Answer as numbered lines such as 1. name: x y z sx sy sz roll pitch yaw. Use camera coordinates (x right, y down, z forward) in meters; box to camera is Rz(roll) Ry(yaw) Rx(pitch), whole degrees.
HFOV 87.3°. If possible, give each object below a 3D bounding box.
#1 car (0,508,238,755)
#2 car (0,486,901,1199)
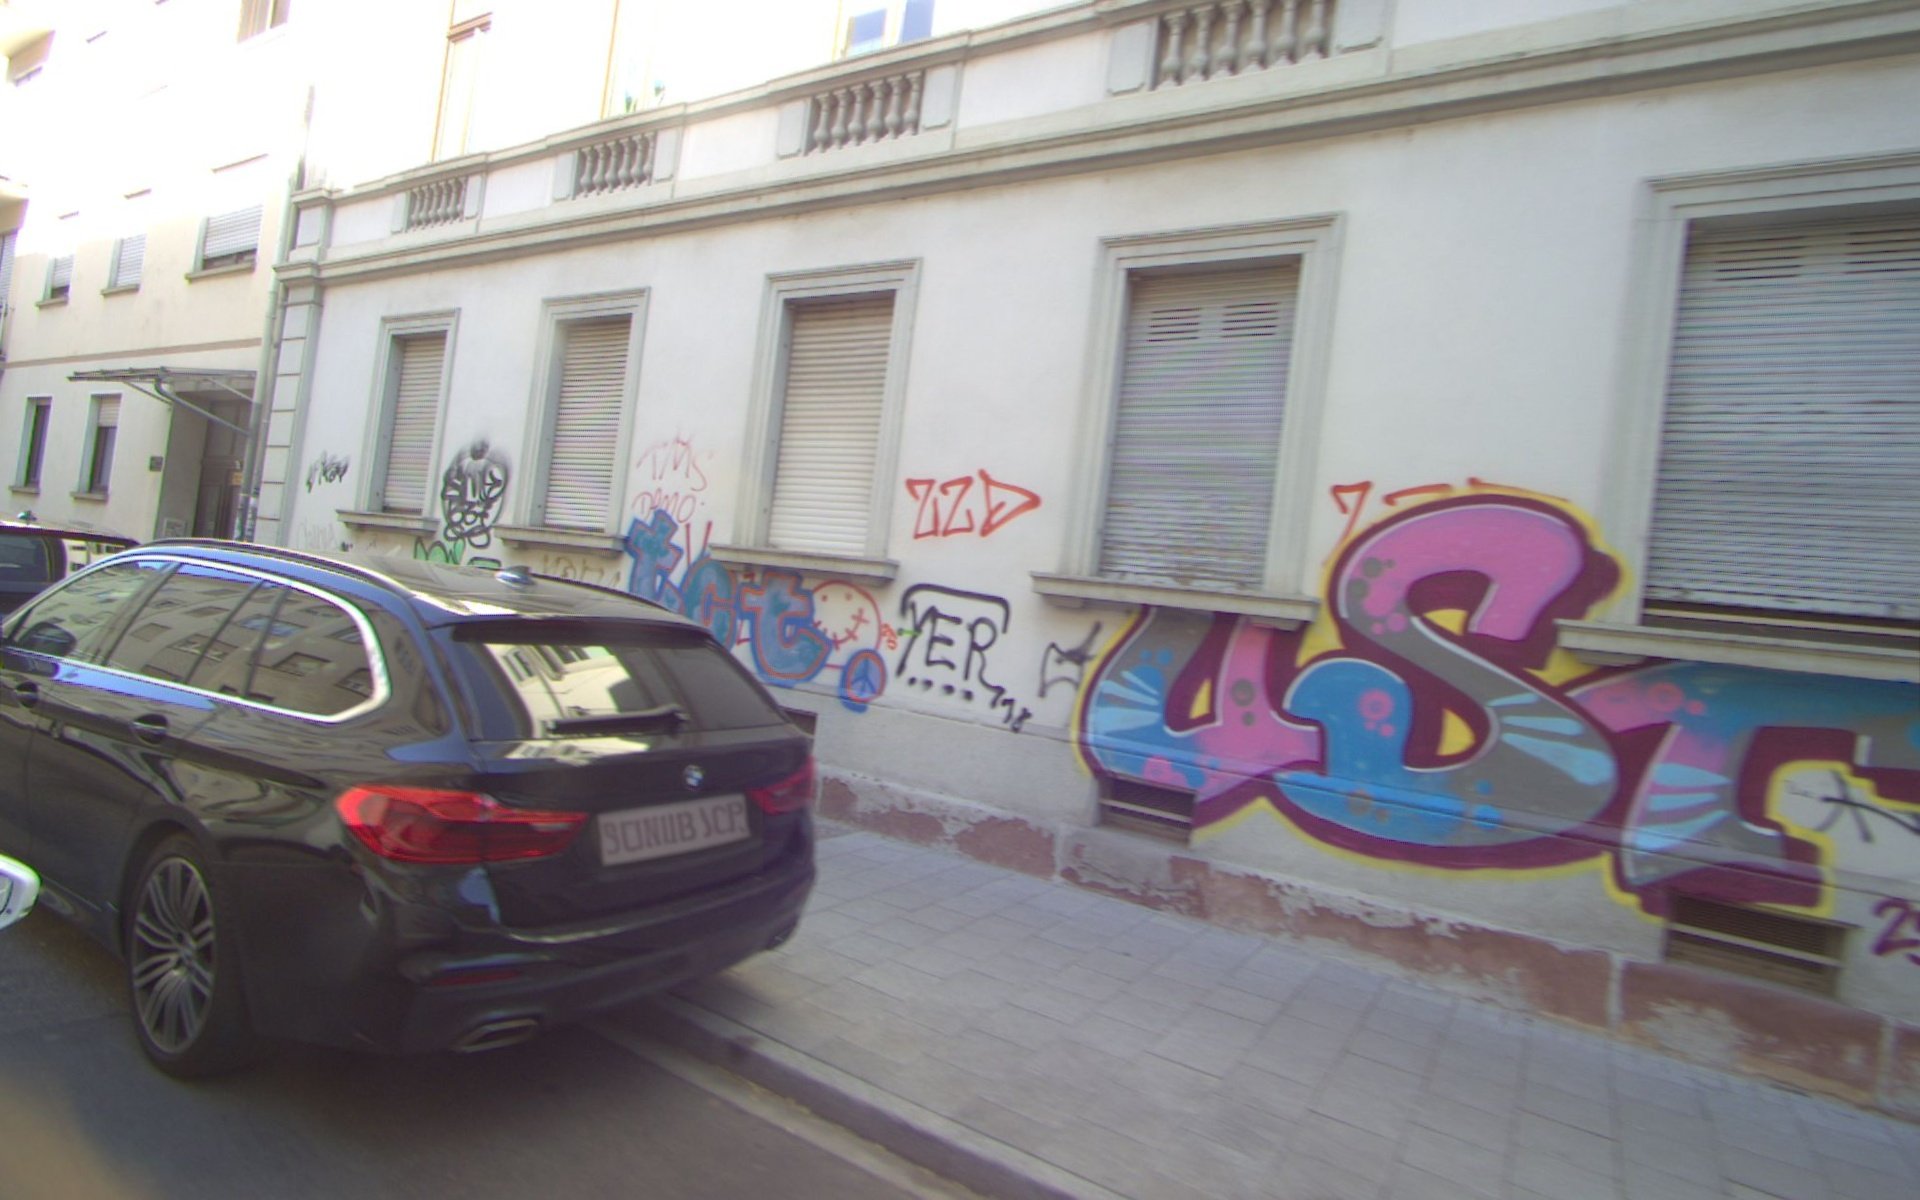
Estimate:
1. car: -7.198 0.040 7.285 3.806 1.464 1.751 7 -4 32
2. car: -2.744 0.516 4.135 4.650 1.536 1.820 7 -4 32
